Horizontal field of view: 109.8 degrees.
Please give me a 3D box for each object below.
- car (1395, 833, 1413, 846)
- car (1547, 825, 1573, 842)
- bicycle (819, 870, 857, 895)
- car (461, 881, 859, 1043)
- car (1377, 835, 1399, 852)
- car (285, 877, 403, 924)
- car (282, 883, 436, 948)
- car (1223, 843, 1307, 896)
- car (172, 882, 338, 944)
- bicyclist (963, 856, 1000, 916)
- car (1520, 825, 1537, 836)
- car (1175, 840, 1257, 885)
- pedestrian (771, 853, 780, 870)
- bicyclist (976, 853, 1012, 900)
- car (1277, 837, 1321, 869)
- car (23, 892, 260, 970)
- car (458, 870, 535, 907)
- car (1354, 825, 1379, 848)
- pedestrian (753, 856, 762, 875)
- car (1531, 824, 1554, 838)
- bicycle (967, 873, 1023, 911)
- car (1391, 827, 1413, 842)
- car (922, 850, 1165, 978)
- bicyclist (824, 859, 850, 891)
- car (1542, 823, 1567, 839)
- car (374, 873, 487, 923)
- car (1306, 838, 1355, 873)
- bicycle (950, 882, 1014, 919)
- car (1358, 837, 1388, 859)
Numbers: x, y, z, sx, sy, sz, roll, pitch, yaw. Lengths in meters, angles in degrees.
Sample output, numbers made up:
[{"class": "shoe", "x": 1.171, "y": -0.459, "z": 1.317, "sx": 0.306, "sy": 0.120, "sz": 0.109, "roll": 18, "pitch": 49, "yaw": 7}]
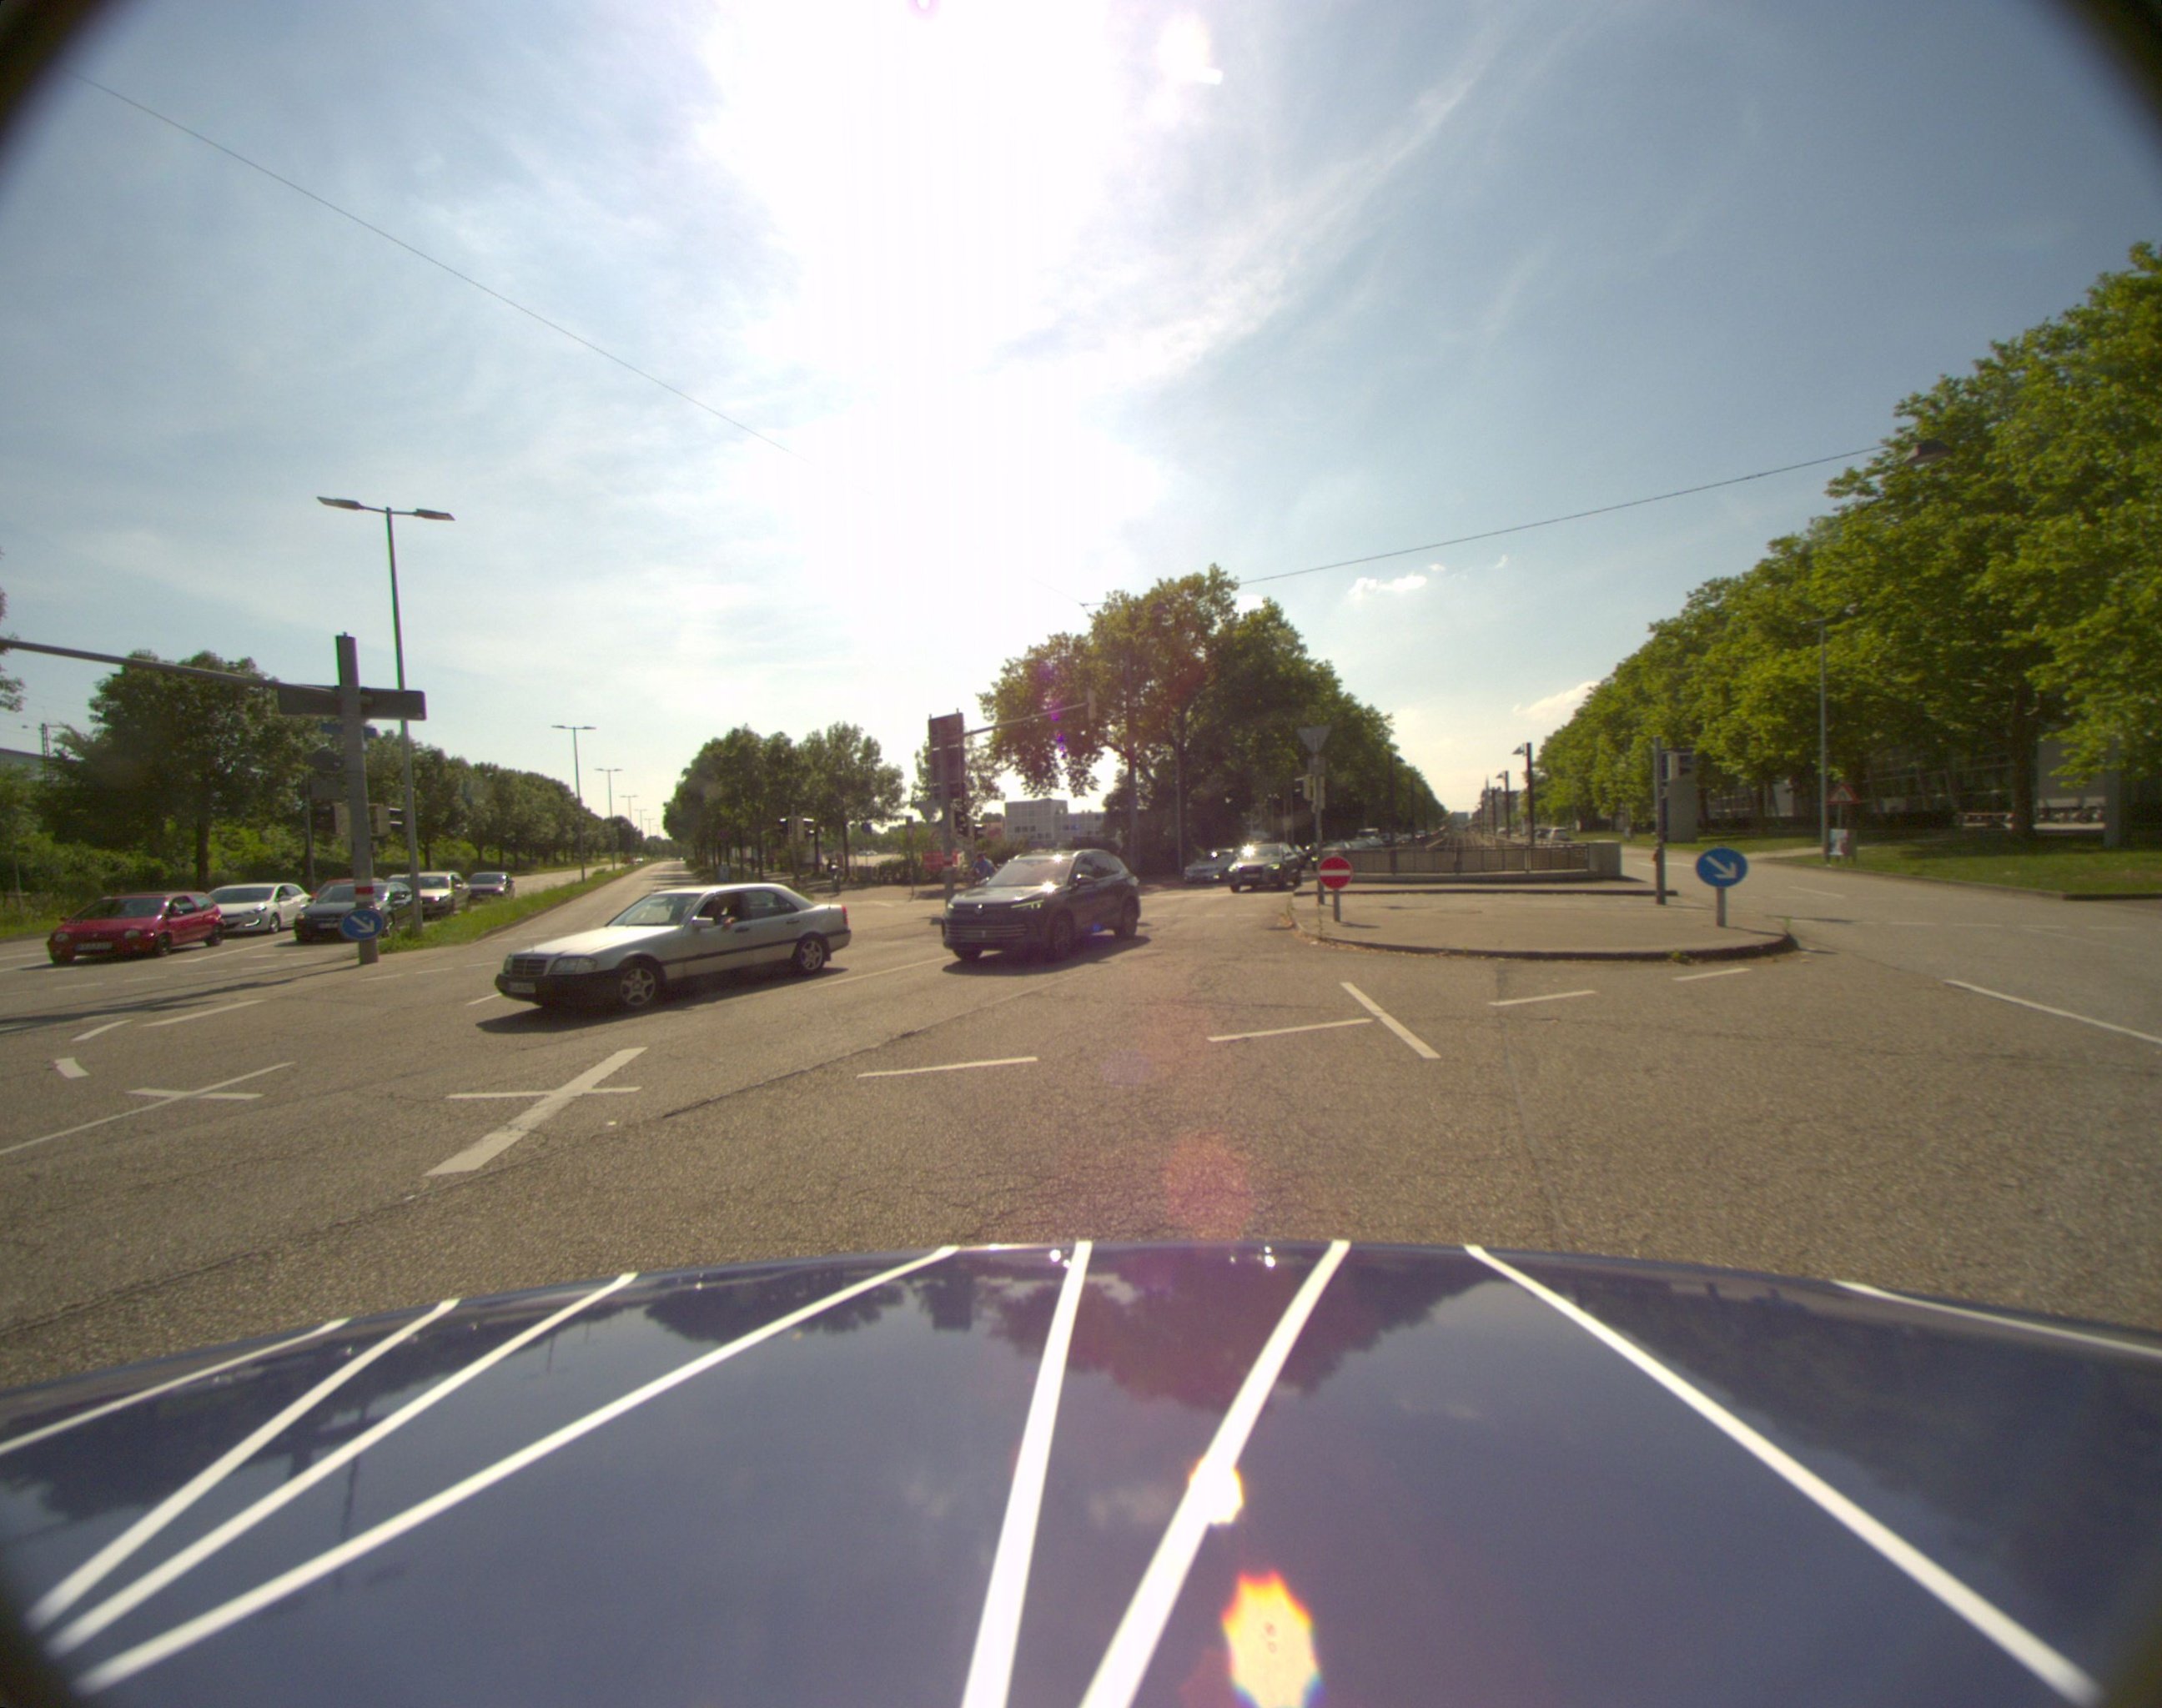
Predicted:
[{"class": "car", "x": 40.138, "y": -1.780, "z": 94.383, "sx": 1.779, "sy": 1.487, "sz": 4.006, "roll": -2, "pitch": 1, "yaw": 25}, {"class": "car", "x": 51.343, "y": -2.202, "z": 81.504, "sx": 1.899, "sy": 1.630, "sz": 4.006, "roll": -3, "pitch": 0, "yaw": 25}, {"class": "bicycle", "x": -11.647, "y": 1.353, "z": 36.325, "sx": 0.886, "sy": 1.053, "sz": 2.765, "roll": -3, "pitch": 2, "yaw": -35}, {"class": "car", "x": -5.237, "y": 1.219, "z": 10.233, "sx": 1.712, "sy": 1.383, "sz": 4.448, "roll": -2, "pitch": 1, "yaw": 26}, {"class": "car", "x": 29.624, "y": -1.058, "z": 73.244, "sx": 1.779, "sy": 1.487, "sz": 4.006, "roll": -2, "pitch": 1, "yaw": 25}, {"class": "car", "x": -27.481, "y": 1.680, "z": 28.507, "sx": 1.718, "sy": 1.499, "sz": 3.993, "roll": -4, "pitch": 0, "yaw": -22}, {"class": "car", "x": -19.824, "y": 1.617, "z": 21.097, "sx": 1.718, "sy": 1.499, "sz": 3.993, "roll": -2, "pitch": -1, "yaw": -22}, {"class": "car", "x": 6.491, "y": 0.475, "z": 26.411, "sx": 1.826, "sy": 1.541, "sz": 4.567, "roll": -2, "pitch": 1, "yaw": 27}, {"class": "car", "x": -24.303, "y": 1.669, "z": 22.570, "sx": 1.718, "sy": 1.499, "sz": 3.993, "roll": -4, "pitch": 0, "yaw": -22}, {"class": "bicyclist", "x": -2.734, "y": 0.869, "z": 20.974, "sx": 0.546, "sy": 1.558, "sz": 0.910, "roll": -1, "pitch": 2, "yaw": 26}, {"class": "car", "x": 69.838, "y": -3.655, "z": 118.584, "sx": 1.899, "sy": 1.630, "sz": 4.006, "roll": -3, "pitch": 0, "yaw": 25}, {"class": "car", "x": 6.235, "y": 0.333, "z": 34.541, "sx": 1.995, "sy": 1.714, "sz": 5.173, "roll": -3, "pitch": 0, "yaw": 30}, {"class": "pedestrian", "x": -28.362, "y": 0.684, "z": 70.505, "sx": 0.579, "sy": 1.515, "sz": 0.878, "roll": -3, "pitch": 2, "yaw": -29}, {"class": "bicyclist", "x": -2.786, "y": 0.717, "z": 24.331, "sx": 0.775, "sy": 1.428, "sz": 0.919, "roll": -3, "pitch": 3, "yaw": -33}, {"class": "car", "x": 13.513, "y": -0.094, "z": 46.963, "sx": 1.895, "sy": 1.762, "sz": 4.179, "roll": -2, "pitch": 1, "yaw": 25}, {"class": "car", "x": -21.794, "y": 1.701, "z": 17.902, "sx": 1.718, "sy": 1.384, "sz": 3.993, "roll": -4, "pitch": 0, "yaw": -22}, {"class": "car", "x": -26.886, "y": 1.531, "z": 35.076, "sx": 1.718, "sy": 1.499, "sz": 3.993, "roll": -4, "pitch": 0, "yaw": -22}, {"class": "car", "x": 31.201, "y": -1.957, "z": 82.945, "sx": 2.097, "sy": 2.338, "sz": 5.644, "roll": -2, "pitch": 1, "yaw": 25}, {"class": "pedestrian", "x": -30.346, "y": 1.061, "z": 71.189, "sx": 0.632, "sy": 1.700, "sz": 0.766, "roll": -3, "pitch": 2, "yaw": -29}, {"class": "car", "x": 57.681, "y": -2.873, "z": 94.990, "sx": 1.899, "sy": 1.630, "sz": 4.792, "roll": -3, "pitch": 0, "yaw": 25}, {"class": "bicycle", "x": -2.802, "y": 1.177, "z": 24.393, "sx": 0.775, "sy": 1.047, "sz": 2.395, "roll": -3, "pitch": 2, "yaw": -33}, {"class": "car", "x": 34.661, "y": -2.133, "z": 81.903, "sx": 1.818, "sy": 1.521, "sz": 4.006, "roll": -1, "pitch": 2, "yaw": 27}, {"class": "car", "x": -0.365, "y": 0.850, "z": 13.196, "sx": 1.944, "sy": 1.599, "sz": 4.982, "roll": -1, "pitch": 2, "yaw": 27}, {"class": "bicyclist", "x": -11.655, "y": 0.983, "z": 36.285, "sx": 0.886, "sy": 1.435, "sz": 0.963, "roll": -4, "pitch": 2, "yaw": -35}, {"class": "car", "x": 53.790, "y": -2.613, "z": 86.322, "sx": 1.899, "sy": 1.630, "sz": 4.006, "roll": -3, "pitch": 0, "yaw": 25}, {"class": "car", "x": -22.883, "y": 1.477, "z": 26.938, "sx": 1.718, "sy": 1.499, "sz": 4.204, "roll": -4, "pitch": 0, "yaw": -22}, {"class": "car", "x": 13.248, "y": 0.051, "z": 40.158, "sx": 1.815, "sy": 1.604, "sz": 4.006, "roll": -3, "pitch": 0, "yaw": 27}, {"class": "bicycle", "x": -2.700, "y": 1.261, "z": 21.031, "sx": 0.546, "sy": 0.830, "sz": 2.304, "roll": -1, "pitch": 2, "yaw": 26}, {"class": "car", "x": 21.646, "y": -0.460, "z": 56.251, "sx": 1.779, "sy": 1.487, "sz": 4.006, "roll": -2, "pitch": 1, "yaw": 25}]
